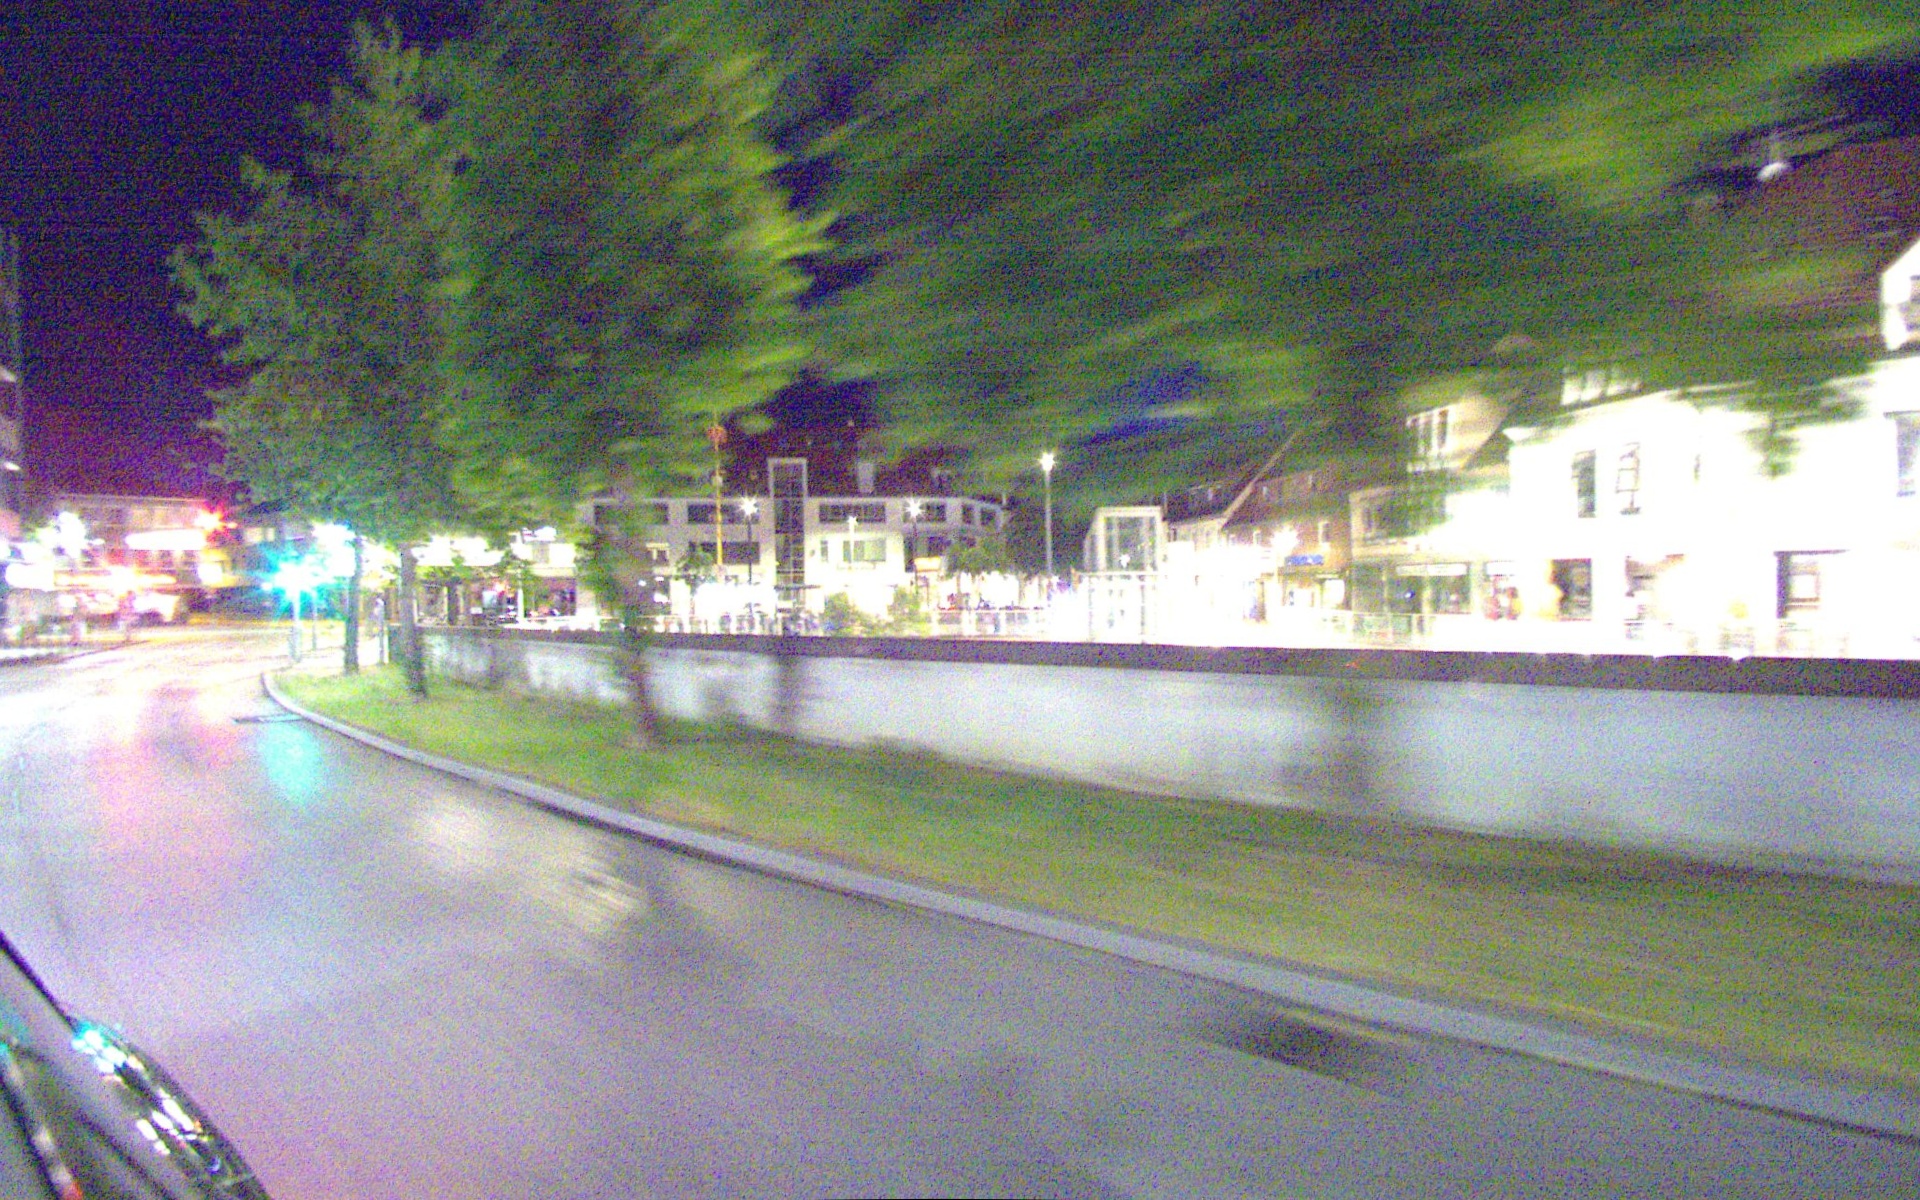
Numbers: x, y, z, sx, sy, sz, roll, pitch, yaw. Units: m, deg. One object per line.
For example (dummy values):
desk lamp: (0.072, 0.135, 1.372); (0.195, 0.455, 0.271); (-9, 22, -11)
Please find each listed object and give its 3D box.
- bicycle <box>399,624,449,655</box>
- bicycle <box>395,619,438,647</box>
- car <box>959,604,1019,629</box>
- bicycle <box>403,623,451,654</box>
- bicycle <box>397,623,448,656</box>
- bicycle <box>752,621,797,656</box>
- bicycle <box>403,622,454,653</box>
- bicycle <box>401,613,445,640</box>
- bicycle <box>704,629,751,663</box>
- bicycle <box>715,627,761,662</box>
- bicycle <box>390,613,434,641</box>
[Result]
bicycle: (-20.250, 1.474, 38.244); (1.594, 1.114, 0.672); (-1, 0, -33)
bicycle: (-25.384, 1.542, 47.305); (1.710, 1.166, 0.789); (-3, 1, -27)
car: (2.338, 1.299, 81.405); (4.342, 1.952, 1.966); (0, -2, -18)
bicycle: (-20.510, 1.480, 38.972); (1.594, 1.114, 0.672); (-1, 0, -33)
bicycle: (-19.677, 1.439, 37.055); (1.594, 1.114, 0.672); (-1, 0, -33)
bicycle: (-6.657, 1.387, 36.269); (1.746, 1.228, 0.601); (-2, -3, 40)
bicycle: (-21.447, 1.500, 40.837); (1.745, 1.173, 0.672); (0, -1, -33)
bicycle: (-25.876, 1.273, 48.770); (1.808, 1.166, 0.789); (-3, 1, -27)
bicycle: (-7.778, 1.527, 33.848); (1.746, 1.109, 0.601); (-2, -3, 40)
bicycle: (-7.612, 1.509, 34.598); (1.746, 1.174, 0.601); (-2, -3, 40)
bicycle: (-25.139, 1.237, 46.486); (1.710, 1.175, 0.789); (-3, 0, -27)
